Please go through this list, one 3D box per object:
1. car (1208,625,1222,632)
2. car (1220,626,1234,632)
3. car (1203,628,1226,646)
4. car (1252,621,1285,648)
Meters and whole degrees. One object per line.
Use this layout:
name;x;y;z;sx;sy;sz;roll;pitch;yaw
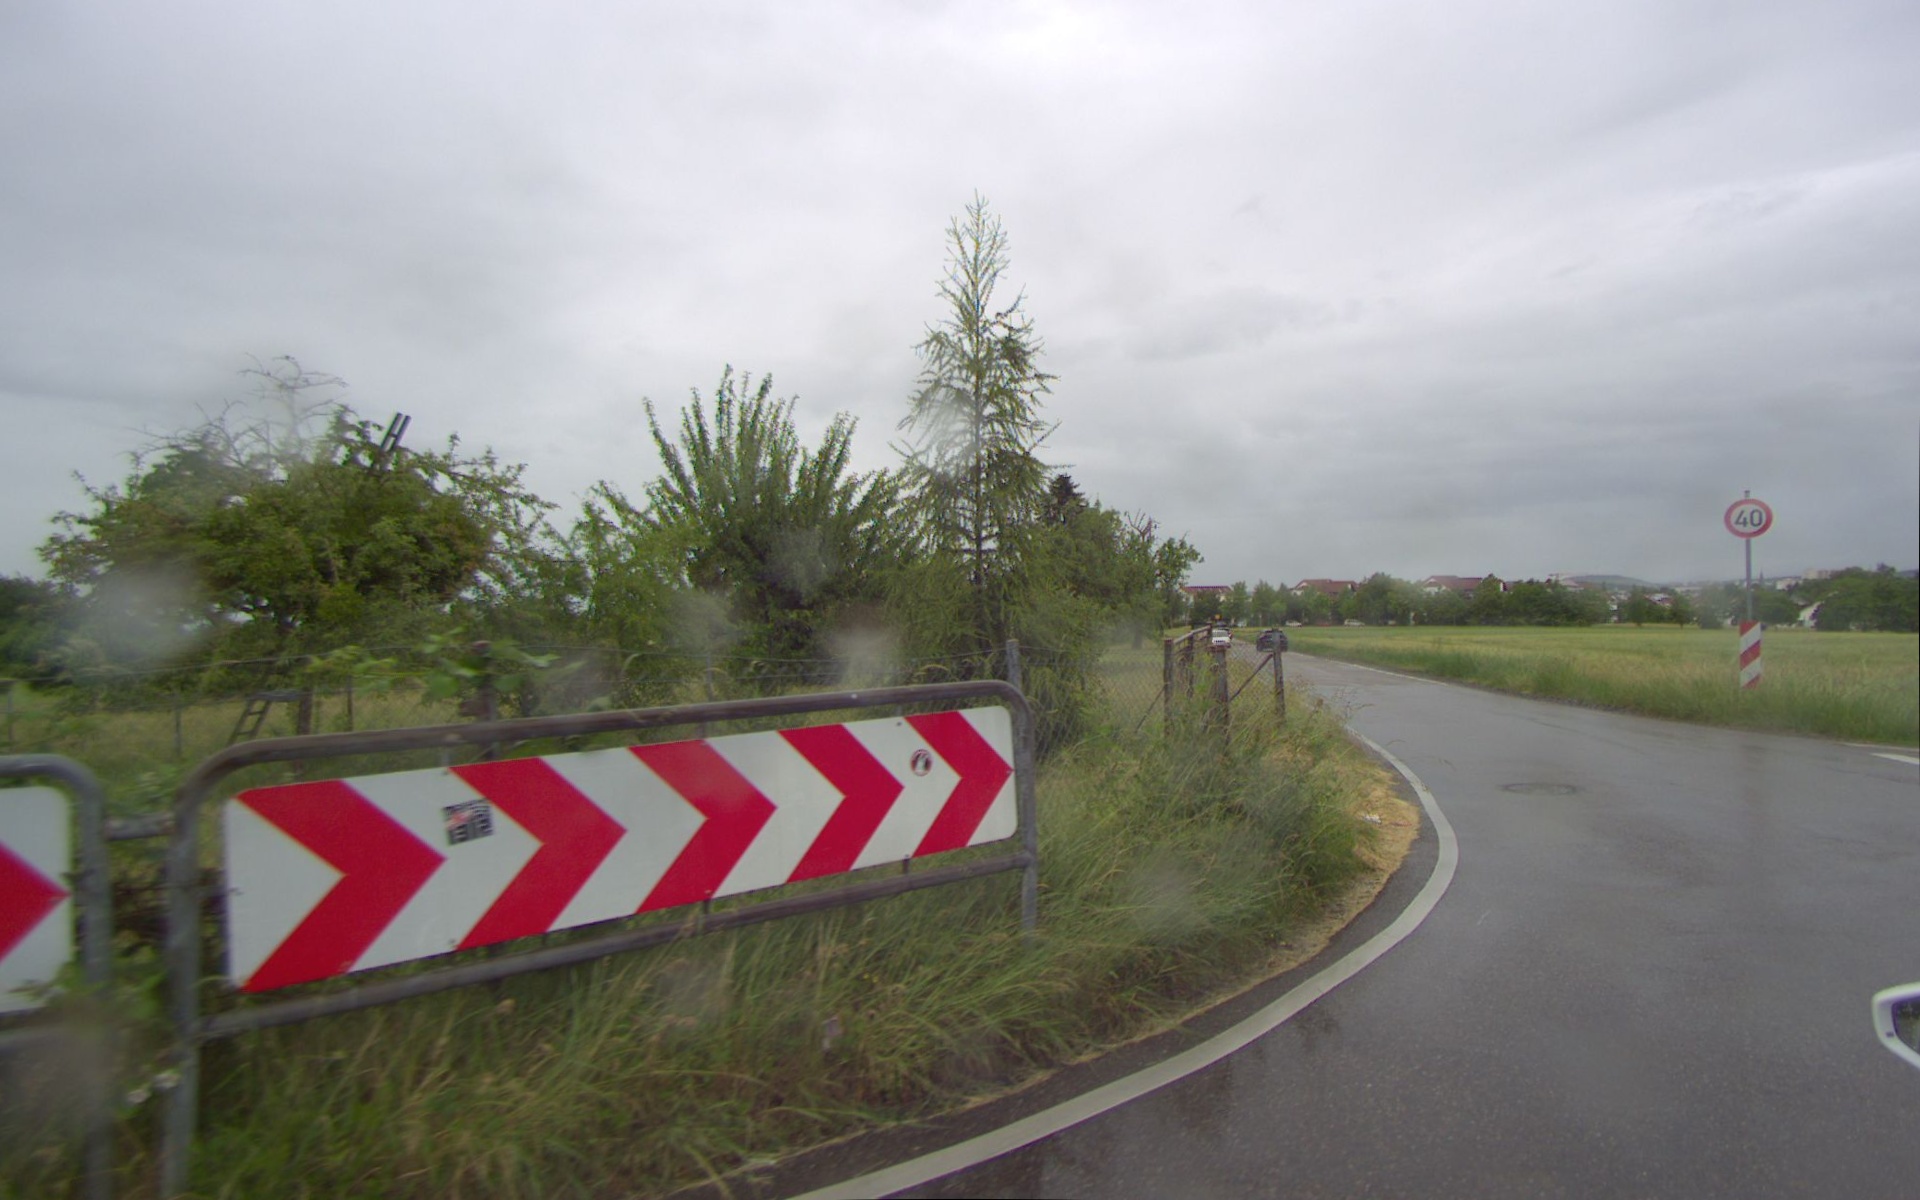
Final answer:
car;61.620;6.810;242.734;1.640;1.566;3.984;-3;-3;37
car;65.725;7.092;247.217;3.971;1.566;1.646;1;-4;-42
car;21.189;3.107;83.767;1.710;1.490;4.126;-2;-3;13
car;20.095;2.270;65.538;1.784;1.614;4.003;-2;-3;13
